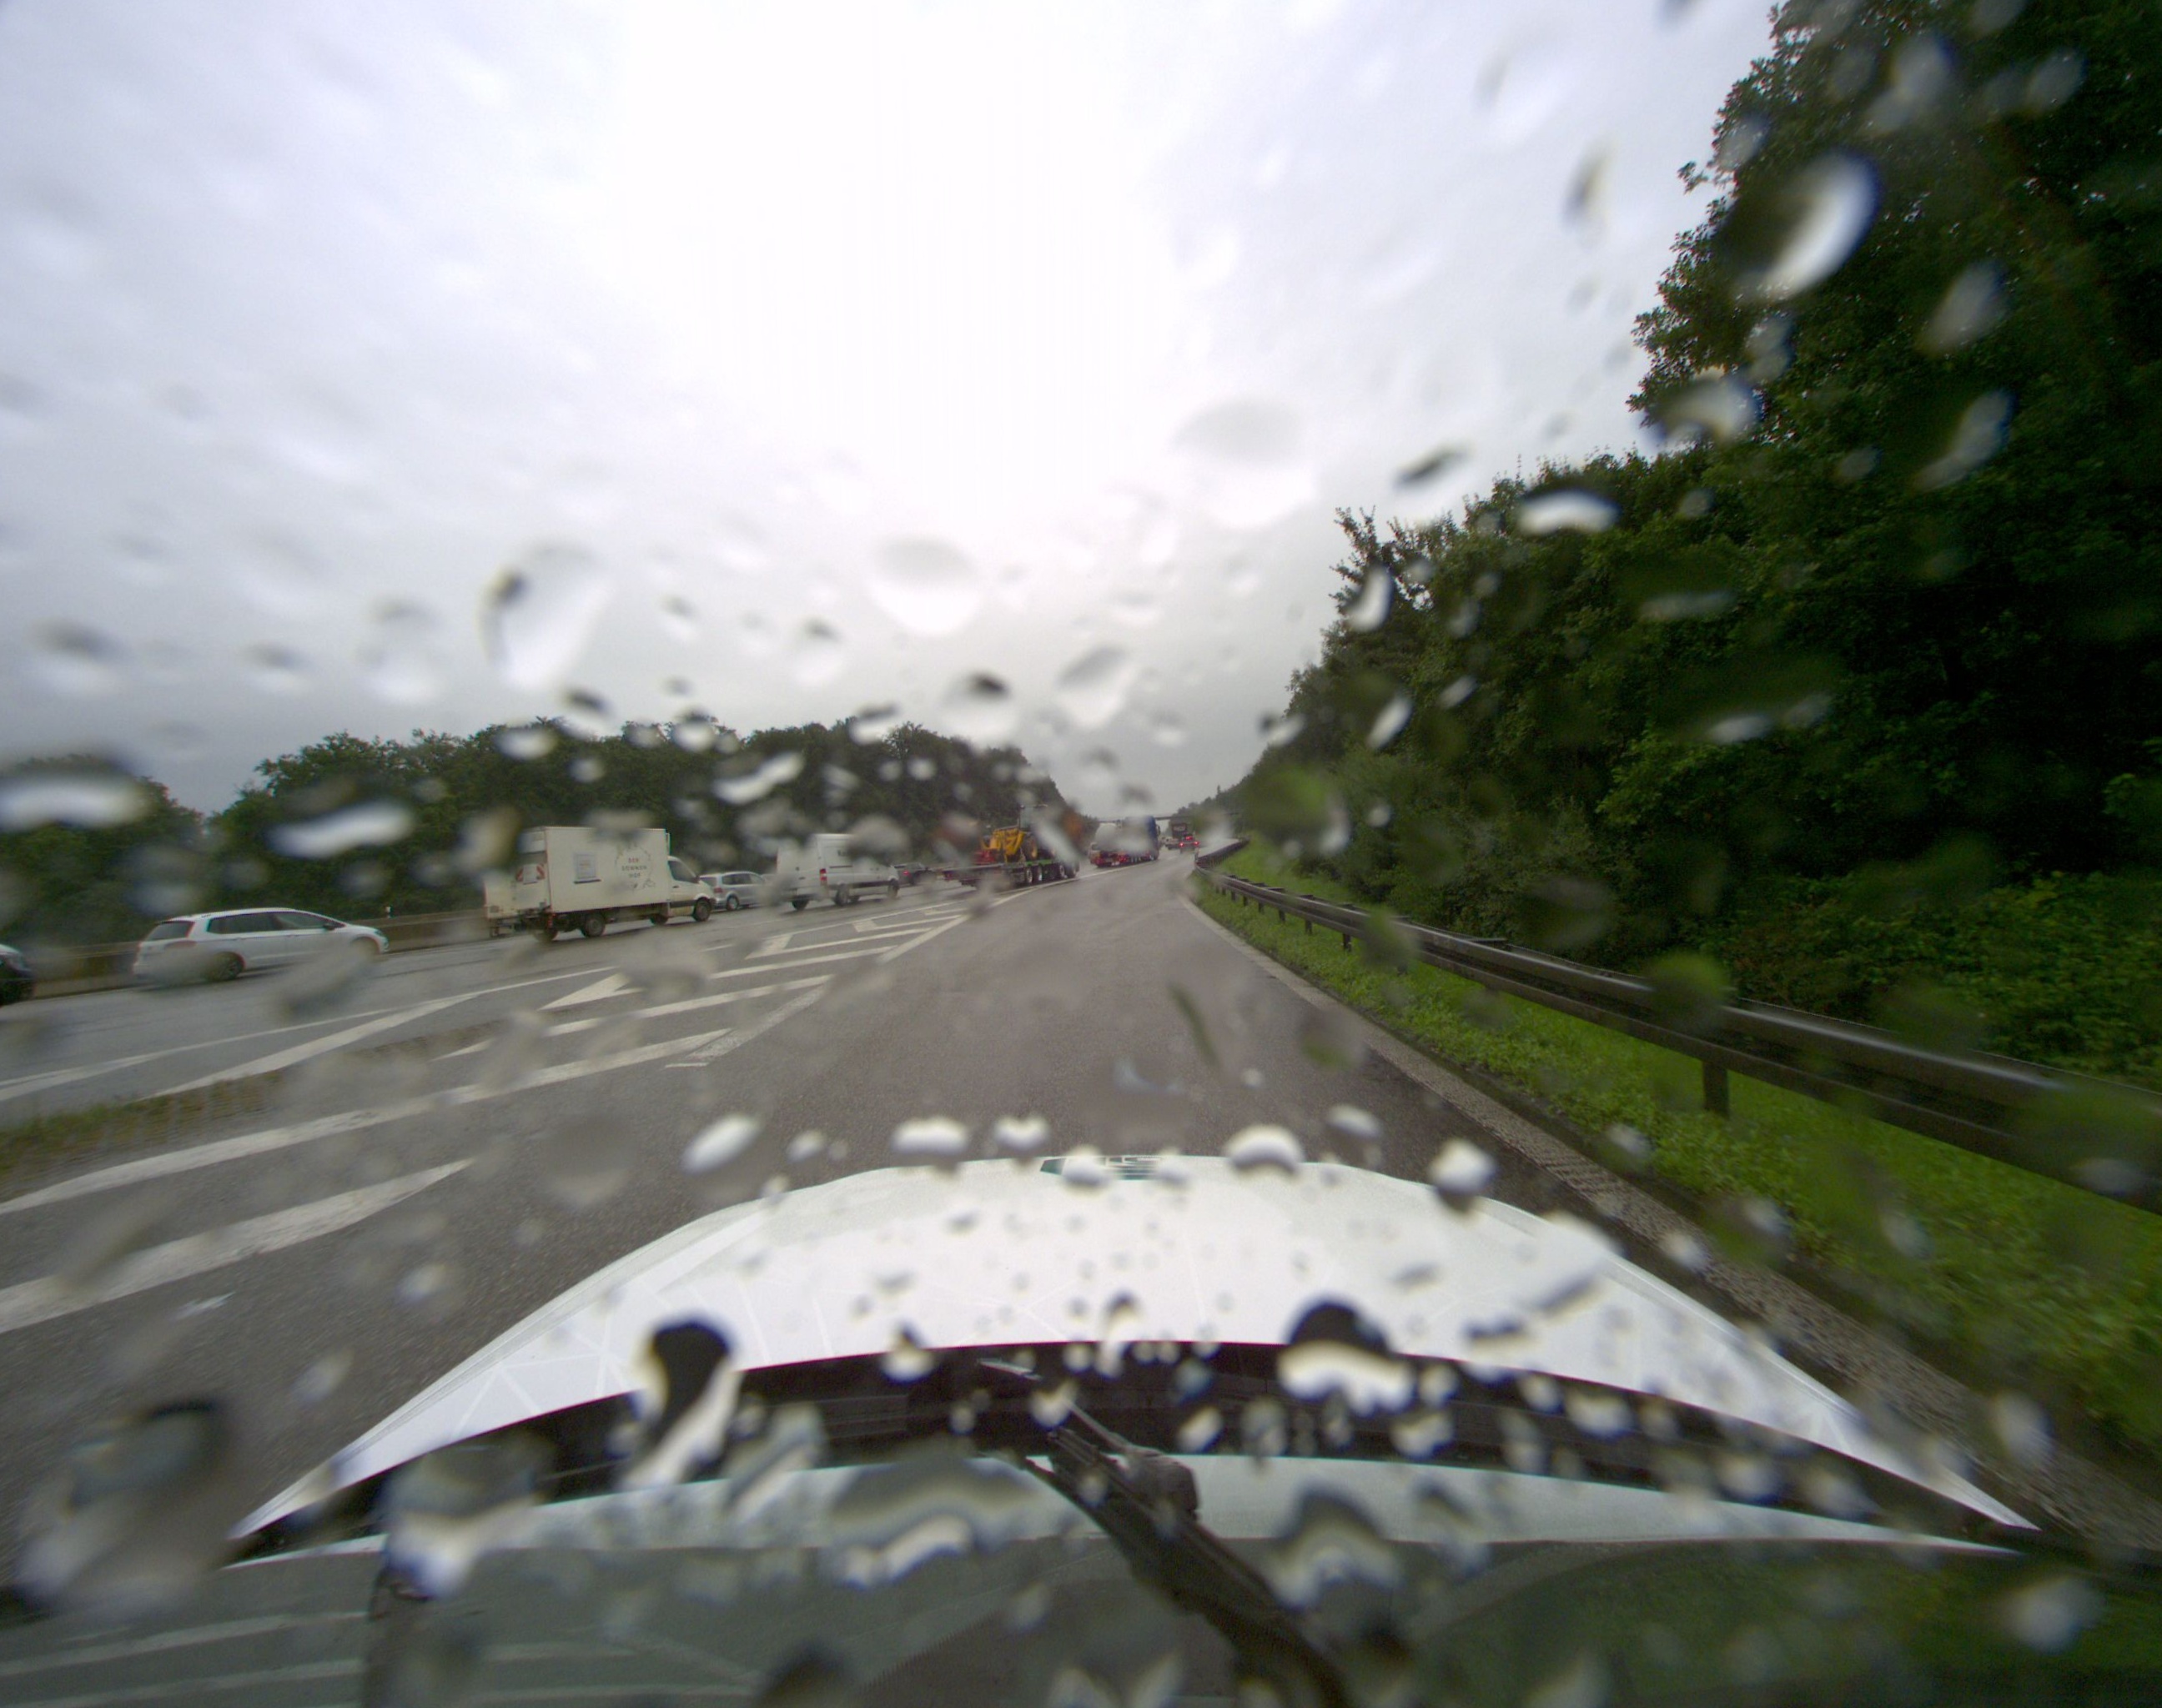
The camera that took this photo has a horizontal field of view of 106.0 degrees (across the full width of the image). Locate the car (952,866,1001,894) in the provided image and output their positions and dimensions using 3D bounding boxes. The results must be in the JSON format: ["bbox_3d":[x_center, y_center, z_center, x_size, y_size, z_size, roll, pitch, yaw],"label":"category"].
[{"bbox_3d":[-6.714,1.665,52.823,1.773,1.727,4.015,-1,0,14],"label":"car"}]

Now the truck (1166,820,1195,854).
[{"bbox_3d":[17.236,-2.844,140.339,3.728,5.499,10.208,-1,0,13],"label":"truck"}]

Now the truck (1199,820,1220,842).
[{"bbox_3d":[25.025,-4.373,158.454,3.732,3.970,11.088,-1,0,9],"label":"truck"}]

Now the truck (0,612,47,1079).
[{"bbox_3d":[-11.801,0.044,4.525,2.895,4.099,6.750,-4,0,17],"label":"truck"}]

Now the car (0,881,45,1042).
[{"bbox_3d":[-18.842,1.825,9.861,2.131,2.488,7.398,-4,0,17],"label":"car"}]

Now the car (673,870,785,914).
[{"bbox_3d":[-15.228,1.603,35.510,1.852,1.522,4.650,-4,0,16],"label":"car"}]

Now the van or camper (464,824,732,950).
[{"bbox_3d":[-14.399,0.837,25.150,2.560,3.204,7.161,-4,0,15],"label":"van or camper"}]

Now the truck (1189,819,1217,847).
[{"bbox_3d":[20.202,-3.404,134.238,3.482,4.268,10.643,-1,0,14],"label":"truck"}]

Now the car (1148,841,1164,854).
[{"bbox_3d":[11.951,-0.949,129.444,1.785,1.904,4.014,-4,-1,13],"label":"car"}]

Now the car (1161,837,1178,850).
[{"bbox_3d":[21.693,-2.474,199.187,3.224,3.002,6.797,-1,0,13],"label":"car"}]

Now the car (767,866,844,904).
[{"bbox_3d":[-14.456,1.584,42.992,1.762,1.706,4.018,-4,0,16],"label":"car"}]

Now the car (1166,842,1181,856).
[{"bbox_3d":[13.572,-0.723,119.463,1.786,1.904,4.013,-1,0,12],"label":"car"}]

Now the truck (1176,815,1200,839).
[{"bbox_3d":[21.451,-5.315,162.549,3.552,4.095,10.917,-4,-1,13],"label":"truck"}]

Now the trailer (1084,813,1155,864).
[{"bbox_3d":[3.065,-1.188,60.125,2.852,3.288,10.121,-4,1,15],"label":"trailer"}]

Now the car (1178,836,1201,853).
[{"bbox_3d":[11.091,-0.915,83.094,1.980,1.636,4.013,-1,0,12],"label":"car"}]

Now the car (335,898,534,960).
[{"bbox_3d":[-20.639,2.338,26.324,1.731,1.425,4.855,-4,0,16],"label":"car"}]

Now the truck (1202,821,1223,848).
[{"bbox_3d":[29.121,-4.213,180.275,4.309,5.763,9.759,-1,0,11],"label":"truck"}]

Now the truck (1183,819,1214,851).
[{"bbox_3d":[17.167,-2.766,118.342,3.577,4.104,11.597,-4,1,11],"label":"truck"}]

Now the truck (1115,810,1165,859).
[{"bbox_3d":[4.871,-1.596,66.733,2.855,3.693,5.078,-4,1,16],"label":"truck"}]

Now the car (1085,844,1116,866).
[{"bbox_3d":[1.773,0.045,71.252,1.806,1.766,4.015,-3,0,13],"label":"car"}]

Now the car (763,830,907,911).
[{"bbox_3d":[-9.096,0.529,30.817,2.198,2.629,5.869,-4,0,16],"label":"car"}]

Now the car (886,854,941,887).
[{"bbox_3d":[-10.597,1.033,51.805,1.784,2.014,4.017,-1,0,16],"label":"car"}]

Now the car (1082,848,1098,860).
[{"bbox_3d":[1.645,-0.083,150.230,1.980,2.013,4.013,-3,0,12],"label":"car"}]

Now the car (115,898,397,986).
[{"bbox_3d":[-19.428,2.004,19.499,1.603,1.522,4.434,-4,0,17],"label":"car"}]

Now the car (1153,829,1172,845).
[{"bbox_3d":[16.210,-3.350,161.756,3.075,3.002,6.793,-1,0,11],"label":"car"}]

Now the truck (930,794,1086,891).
[{"bbox_3d":[-2.868,-0.564,37.640,2.809,3.588,11.848,-5,0,16],"label":"truck"}]

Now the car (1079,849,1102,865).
[{"bbox_3d":[1.226,0.385,100.581,1.980,1.772,4.149,-3,0,13],"label":"car"}]

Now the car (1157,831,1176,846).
[{"bbox_3d":[18.566,-3.347,176.019,3.224,3.002,6.797,-1,0,13],"label":"car"}]
